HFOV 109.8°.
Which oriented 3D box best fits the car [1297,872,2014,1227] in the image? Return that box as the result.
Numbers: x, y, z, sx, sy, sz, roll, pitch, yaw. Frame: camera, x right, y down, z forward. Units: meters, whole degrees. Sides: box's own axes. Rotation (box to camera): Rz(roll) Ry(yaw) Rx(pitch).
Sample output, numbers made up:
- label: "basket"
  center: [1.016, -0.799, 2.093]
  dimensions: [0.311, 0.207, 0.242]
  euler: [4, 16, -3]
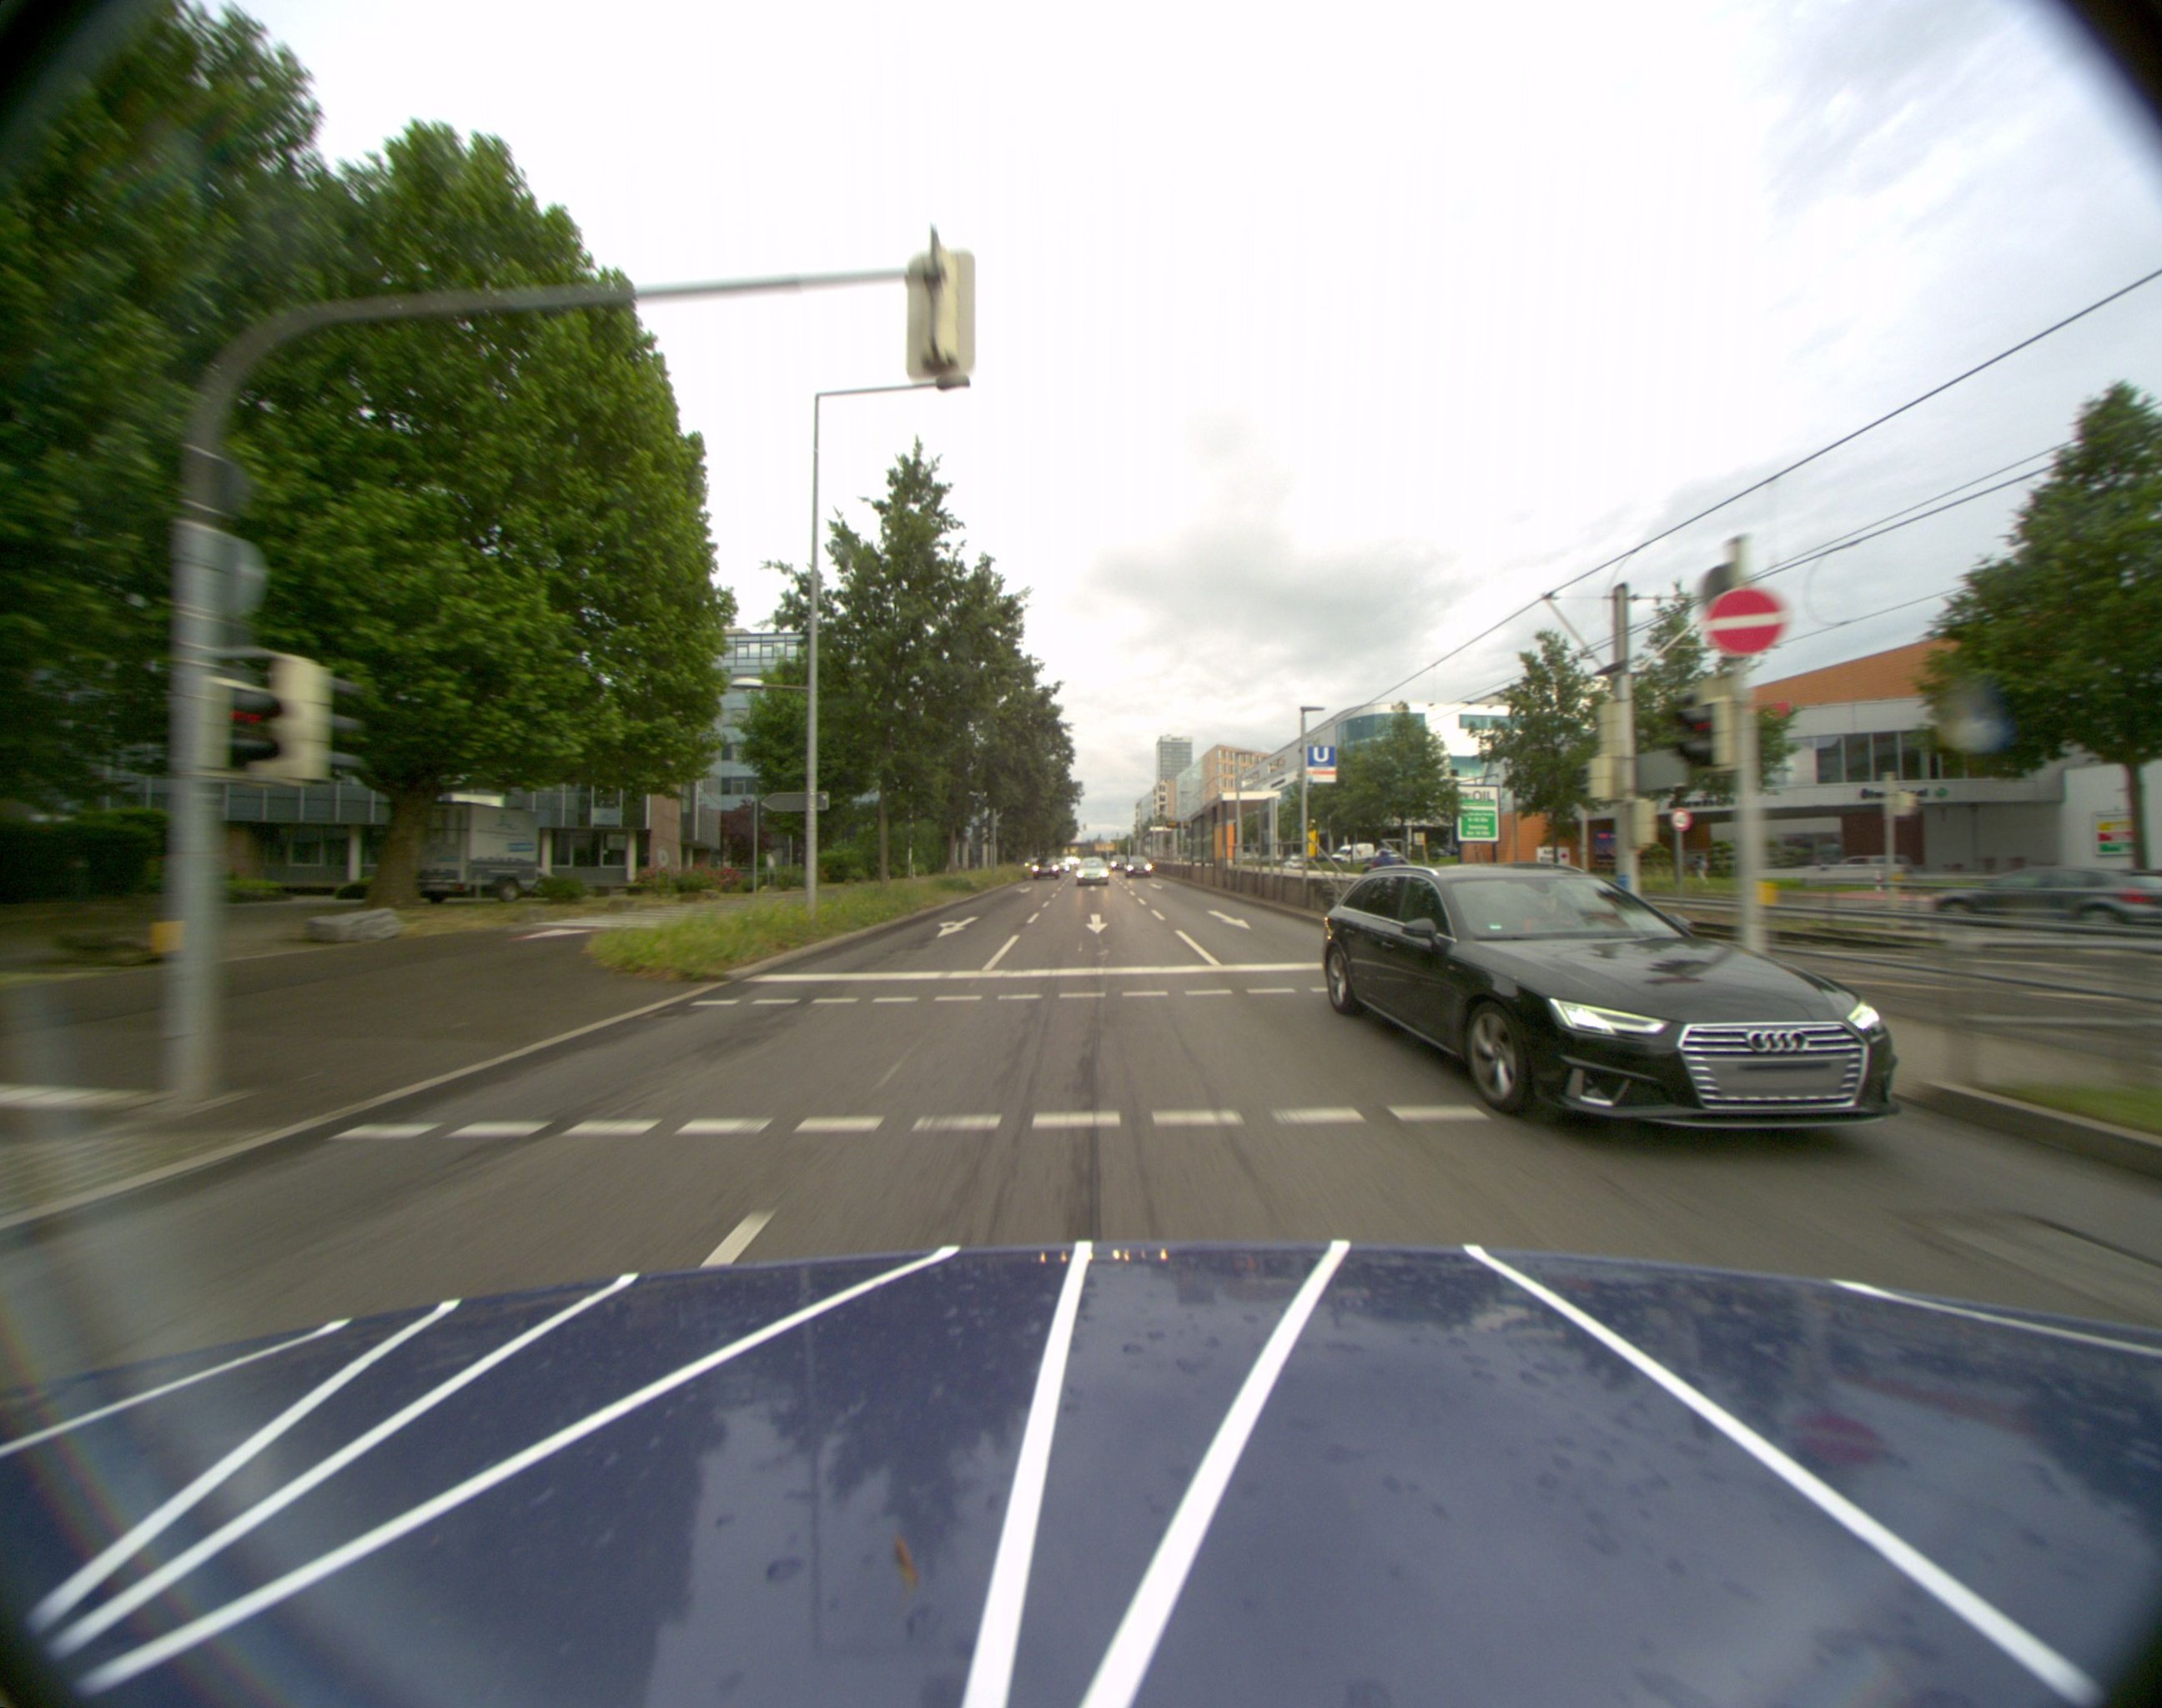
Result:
- label: "car"
  center: [3.192, 0.915, 5.733]
  dimensions: [1.794, 1.426, 4.829]
  euler: [-1, 0, 1]

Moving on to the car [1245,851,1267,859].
- label: "car"
  center: [33.773, 0.221, 146.778]
  dimensions: [3.845, 1.482, 1.821]
  euler: [-1, 0, -17]

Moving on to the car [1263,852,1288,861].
- label: "car"
  center: [34.122, 0.487, 133.155]
  dimensions: [3.845, 1.482, 1.821]
  euler: [-1, 0, -17]

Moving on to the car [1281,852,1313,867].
- label: "car"
  center: [23.602, 0.602, 83.235]
  dimensions: [1.999, 1.509, 4.706]
  euler: [-2, 0, -1]

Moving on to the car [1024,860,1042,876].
- label: "car"
  center: [-5.482, 1.589, 86.843]
  dimensions: [1.816, 1.660, 4.370]
  euler: [-1, 0, -1]

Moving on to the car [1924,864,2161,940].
- label: "car"
  center: [21.560, 0.967, 16.783]
  dimensions: [1.732, 1.415, 3.779]
  euler: [-1, 0, 0]

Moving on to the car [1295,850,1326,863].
- label: "car"
  center: [34.364, 0.343, 113.675]
  dimensions: [3.999, 1.652, 1.921]
  euler: [-3, 0, -6]

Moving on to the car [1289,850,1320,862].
- label: "car"
  center: [34.198, 0.328, 116.345]
  dimensions: [3.999, 1.652, 1.921]
  euler: [-3, 0, -6]

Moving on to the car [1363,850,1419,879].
- label: "car"
  center: [20.370, 0.662, 50.111]
  dimensions: [1.998, 1.764, 4.389]
  euler: [-1, 0, 1]

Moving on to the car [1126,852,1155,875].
- label: "car"
  center: [4.136, 0.661, 53.561]
  dimensions: [1.798, 1.492, 4.000]
  euler: [-1, 0, 1]

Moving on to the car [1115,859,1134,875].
- label: "car"
  center: [4.697, 1.372, 82.253]
  dimensions: [1.781, 1.670, 4.131]
  euler: [-1, 0, 1]

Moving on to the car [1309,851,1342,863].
- label: "car"
  center: [34.484, 0.470, 107.321]
  dimensions: [3.999, 1.499, 1.896]
  euler: [-2, 1, -7]

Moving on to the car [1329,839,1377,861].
- label: "car"
  center: [35.310, -0.535, 98.778]
  dimensions: [5.488, 2.613, 2.276]
  euler: [-2, 1, -16]

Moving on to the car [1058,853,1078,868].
- label: "car"
  center: [-1.353, 0.676, 79.983]
  dimensions: [1.873, 1.533, 4.107]
  euler: [-1, 0, 1]

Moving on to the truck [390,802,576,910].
- label: "truck"
  center: [-15.583, 0.044, 20.116]
  dimensions: [1.751, 2.503, 3.999]
  euler: [-2, 1, -2]

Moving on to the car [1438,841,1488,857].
- label: "car"
  center: [50.303, -0.636, 100.081]
  dimensions: [5.483, 1.915, 2.278]
  euler: [-2, 1, -5]

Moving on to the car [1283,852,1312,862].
- label: "car"
  center: [33.972, 0.416, 119.294]
  dimensions: [3.999, 1.482, 1.823]
  euler: [-1, 0, -6]

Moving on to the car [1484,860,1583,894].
- label: "car"
  center: [20.751, 1.021, 35.057]
  dimensions: [1.858, 1.419, 4.388]
  euler: [1, 0, -1]

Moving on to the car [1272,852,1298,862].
- label: "car"
  center: [34.377, 0.519, 128.098]
  dimensions: [3.845, 1.482, 1.821]
  euler: [-1, 0, -17]

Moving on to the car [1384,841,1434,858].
- label: "car"
  center: [42.476, -0.602, 98.480]
  dimensions: [5.483, 1.915, 2.278]
  euler: [-2, 1, -5]

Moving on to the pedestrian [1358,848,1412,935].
- label: "pedestrian"
  center: [5.979, 0.721, 14.952]
  dimensions: [0.704, 1.641, 0.648]
  euler: [-2, 0, -28]

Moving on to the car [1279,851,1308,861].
- label: "car"
  center: [34.233, 0.391, 122.552]
  dimensions: [3.999, 1.482, 1.823]
  euler: [-1, 0, -6]

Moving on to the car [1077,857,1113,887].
- label: "car"
  center: [0.756, 0.936, 41.334]
  dimensions: [1.803, 1.533, 4.374]
  euler: [-1, 0, 1]

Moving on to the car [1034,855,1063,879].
- label: "car"
  center: [-2.357, 0.935, 55.892]
  dimensions: [1.816, 1.660, 4.549]
  euler: [-1, 0, 1]
